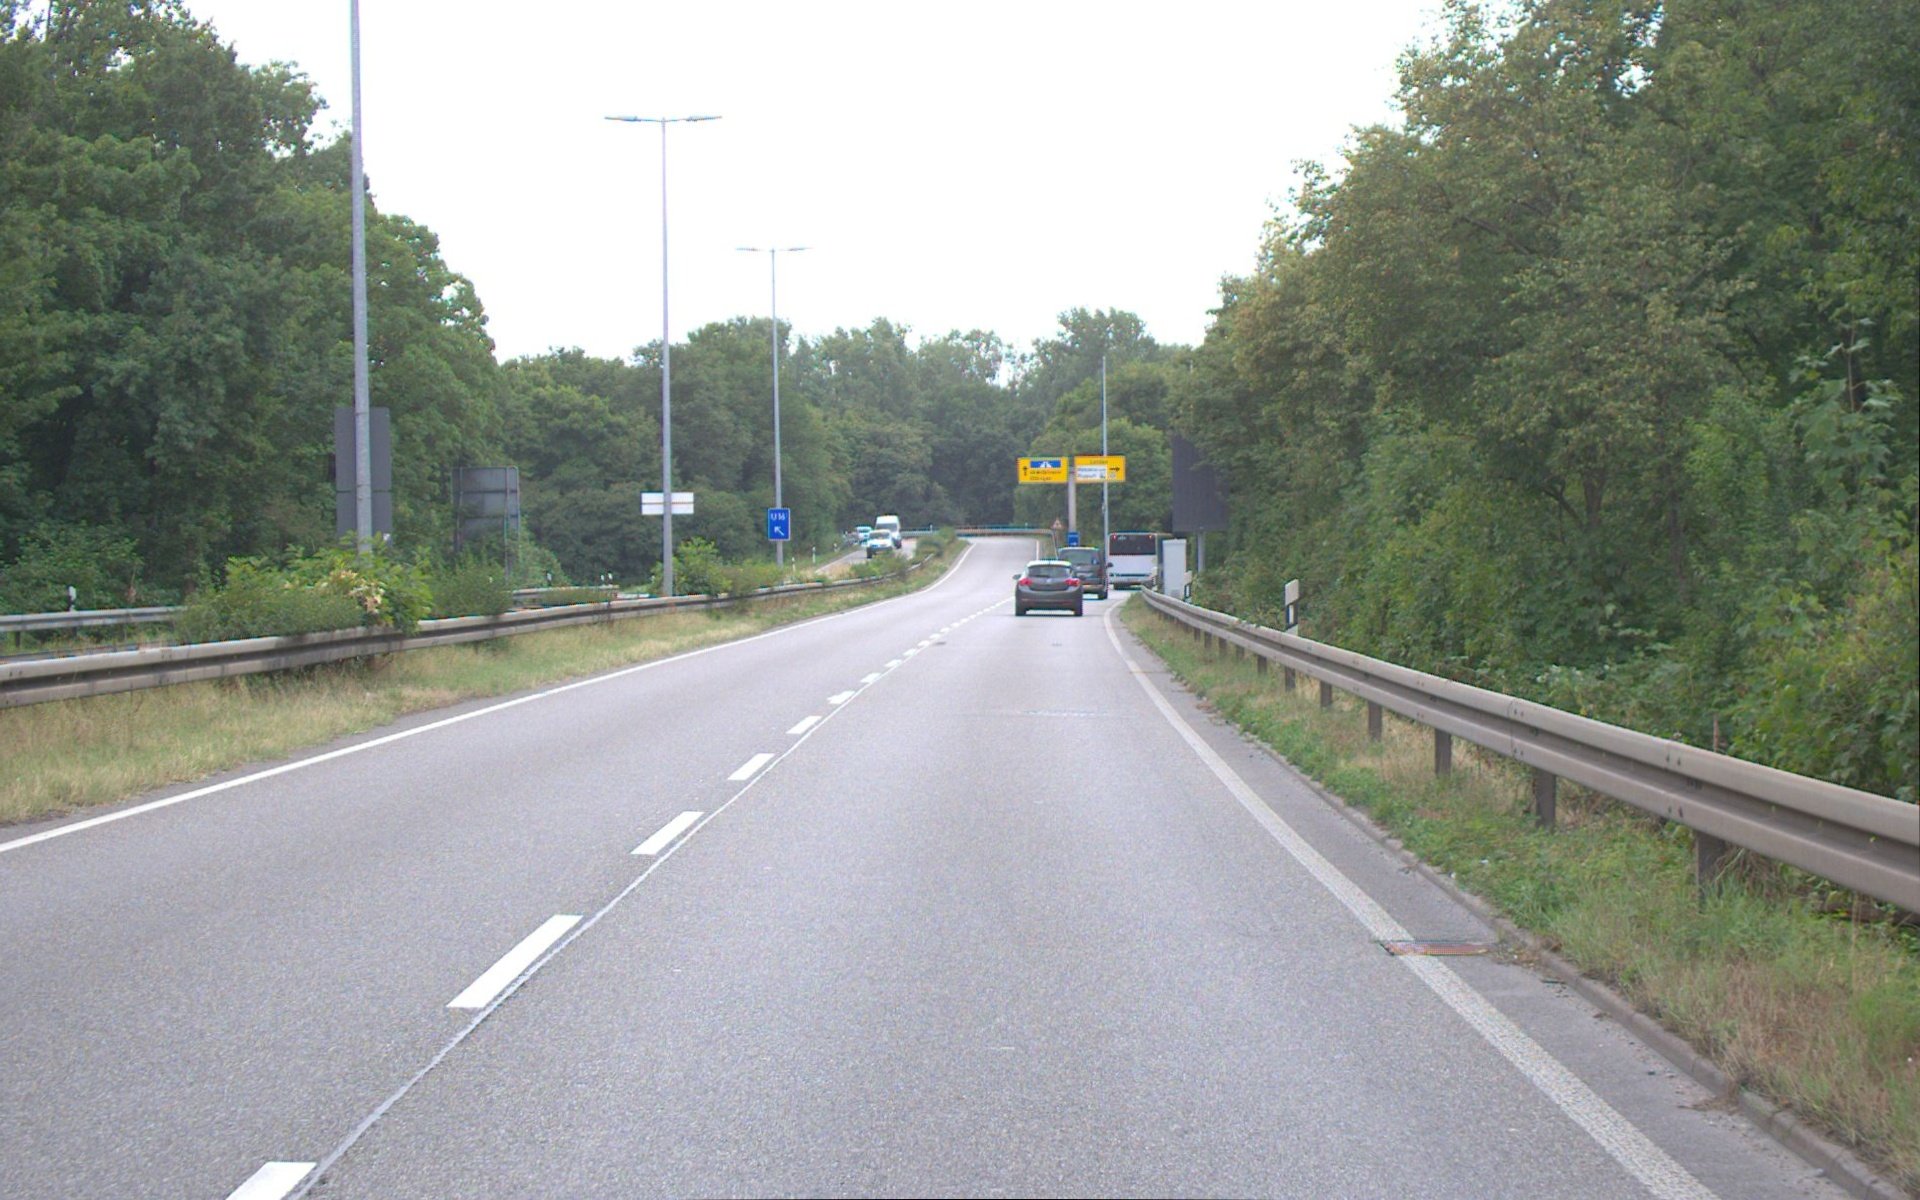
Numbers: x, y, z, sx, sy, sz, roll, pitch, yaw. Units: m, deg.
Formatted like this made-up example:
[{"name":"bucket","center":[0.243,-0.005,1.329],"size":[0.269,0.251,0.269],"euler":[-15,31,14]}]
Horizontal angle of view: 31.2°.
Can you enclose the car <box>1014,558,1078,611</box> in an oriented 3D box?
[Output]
[{"name":"car","center":[2.328,-0.411,92.142],"size":[1.625,1.373,3.999],"euler":[0,0,3]}]

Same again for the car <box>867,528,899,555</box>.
[{"name":"car","center":[-5.530,-4.180,245.799],"size":[1.994,1.840,4.000],"euler":[0,2,3]}]

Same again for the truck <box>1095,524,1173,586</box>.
[{"name":"truck","center":[8.604,-2.161,168.869],"size":[2.982,2.875,7.987],"euler":[0,0,9]}]

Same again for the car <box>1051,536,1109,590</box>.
[{"name":"car","center":[4.582,-1.393,130.908],"size":[2.148,2.007,3.999],"euler":[0,0,3]}]
